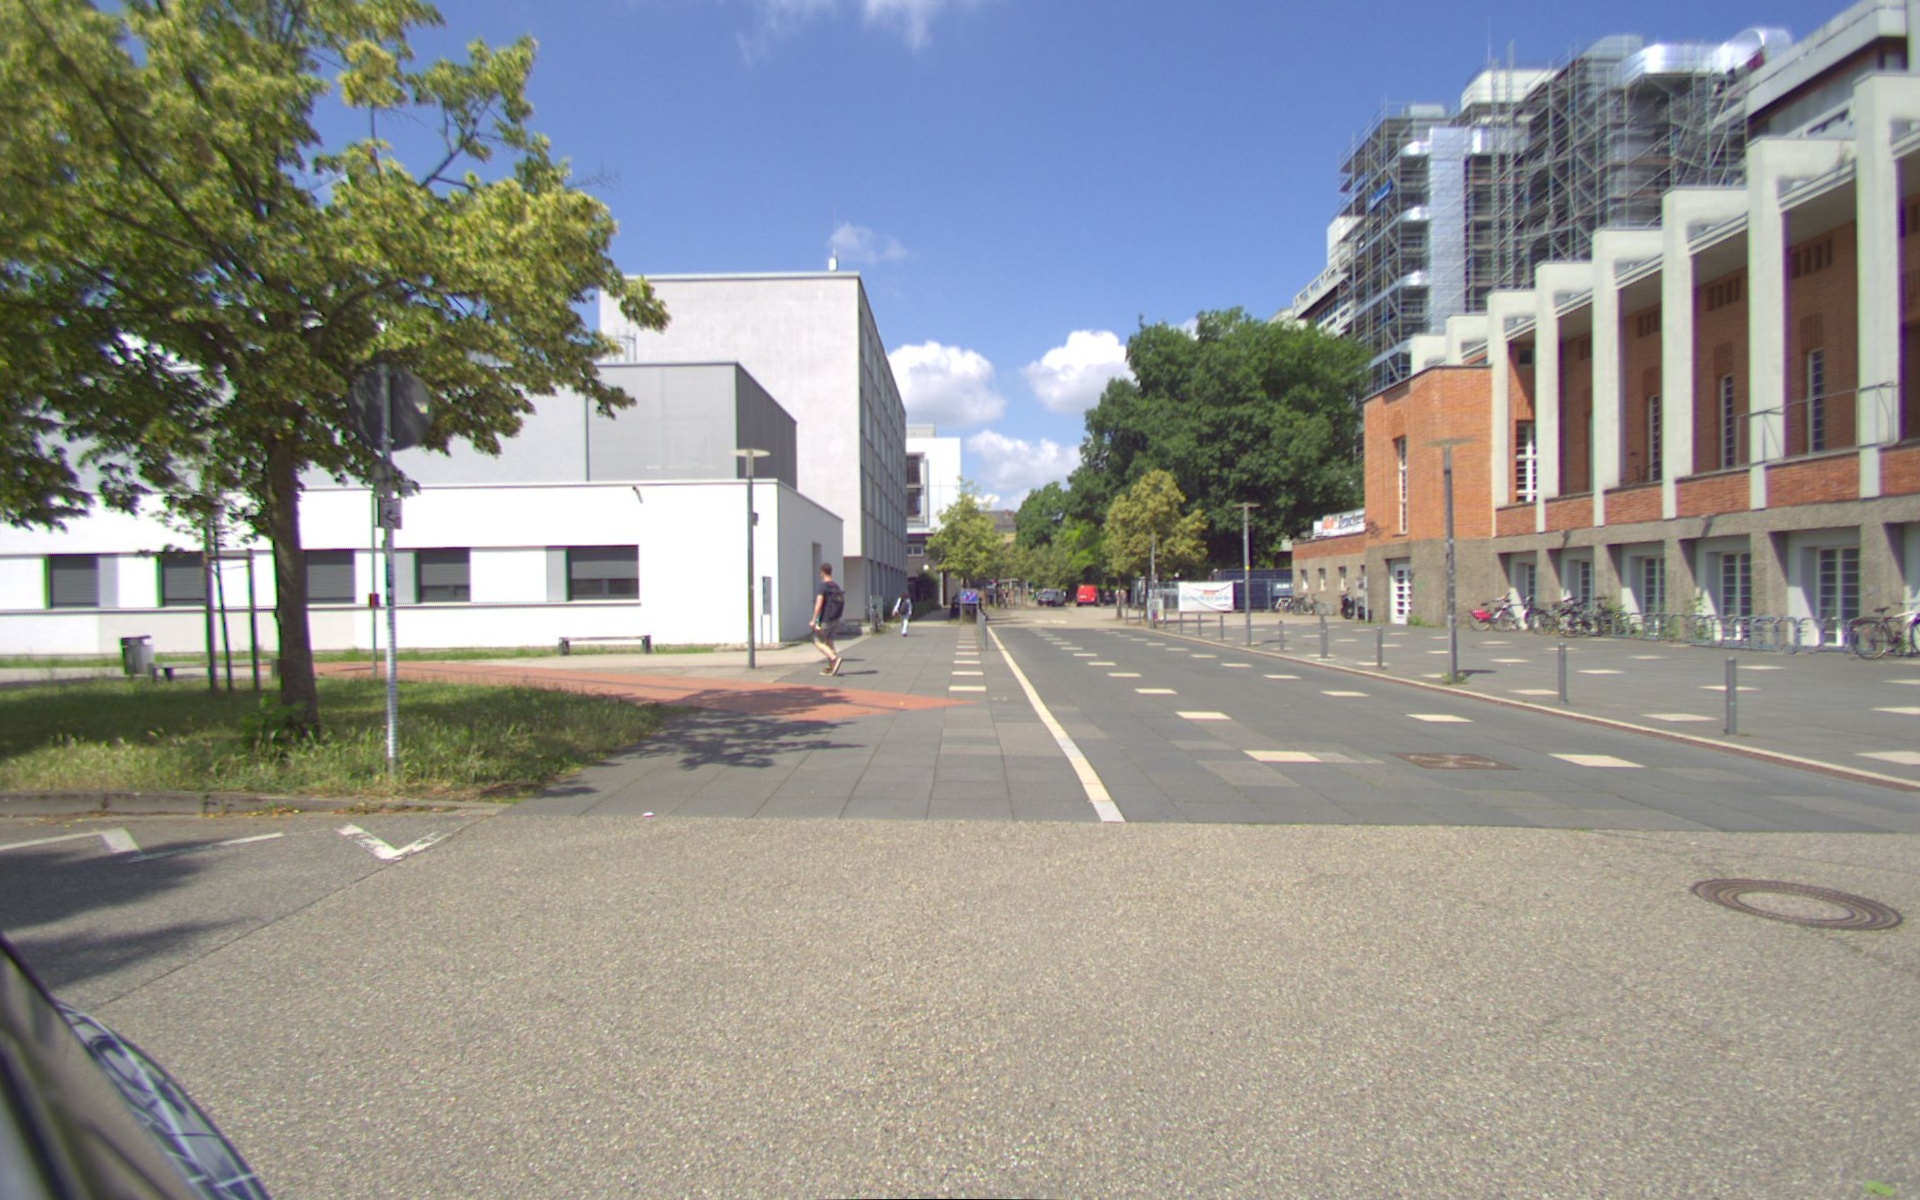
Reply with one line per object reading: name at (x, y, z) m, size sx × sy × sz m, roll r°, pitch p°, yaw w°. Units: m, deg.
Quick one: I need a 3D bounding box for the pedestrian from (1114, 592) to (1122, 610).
pedestrian at (13.392, 0.074, 85.594) m, size 0.637 × 1.550 × 0.451 m, roll -1°, pitch 0°, yaw 12°

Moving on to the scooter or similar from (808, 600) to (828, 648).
scooter or similar at (-3.745, 0.618, 26.736) m, size 0.323 × 1.245 × 1.072 m, roll -1°, pitch 0°, yaw 3°

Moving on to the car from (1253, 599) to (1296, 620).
car at (17.927, 0.547, 57.665) m, size 2.296 × 1.189 × 0.479 m, roll -1°, pitch 0°, yaw 3°

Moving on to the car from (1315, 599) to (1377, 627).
car at (17.342, 0.590, 45.517) m, size 2.496 × 1.189 × 0.632 m, roll -1°, pitch 0°, yaw 3°

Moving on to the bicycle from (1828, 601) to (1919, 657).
bicycle at (16.839, 0.508, 18.139) m, size 1.929 × 0.967 × 0.685 m, roll -1°, pitch 0°, yaw 0°

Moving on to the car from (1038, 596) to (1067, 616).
car at (10.366, 0.678, 113.327) m, size 2.013 × 2.108 × 4.401 m, roll -1°, pitch -1°, yaw 21°

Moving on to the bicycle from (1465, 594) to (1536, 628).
bicycle at (17.169, 0.358, 32.162) m, size 1.929 × 1.038 × 0.542 m, roll -1°, pitch 0°, yaw 0°

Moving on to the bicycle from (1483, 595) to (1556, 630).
bicycle at (17.241, 0.370, 31.191) m, size 1.929 × 1.038 × 0.518 m, roll -1°, pitch 0°, yaw 0°

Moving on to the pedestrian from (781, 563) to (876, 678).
pedestrian at (-2.167, 0.327, 16.785) m, size 1.167 × 1.814 × 1.011 m, roll 1°, pitch -1°, yaw 30°

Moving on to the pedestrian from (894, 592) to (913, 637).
pedestrian at (-1.810, 0.459, 32.704) m, size 0.518 × 1.449 × 0.700 m, roll -1°, pitch 0°, yaw 3°

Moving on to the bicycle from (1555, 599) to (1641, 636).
bicycle at (17.179, 0.464, 27.284) m, size 1.929 × 0.947 × 0.569 m, roll -1°, pitch 0°, yaw 0°

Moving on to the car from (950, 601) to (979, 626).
car at (0.246, 0.757, 58.113) m, size 1.531 × 1.396 × 3.455 m, roll -1°, pitch 0°, yaw -1°

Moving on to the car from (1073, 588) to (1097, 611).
car at (10.740, -0.037, 86.991) m, size 1.892 × 1.896 × 3.991 m, roll -1°, pitch -1°, yaw 7°

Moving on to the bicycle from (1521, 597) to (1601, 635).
bicycle at (17.118, 0.444, 28.836) m, size 1.929 × 1.038 × 0.530 m, roll -1°, pitch 0°, yaw 0°

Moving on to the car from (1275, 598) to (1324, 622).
car at (17.918, 0.524, 53.438) m, size 2.338 × 1.189 × 0.794 m, roll -1°, pitch 0°, yaw 3°

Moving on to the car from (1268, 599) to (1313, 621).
car at (18.027, 0.536, 55.209) m, size 2.260 × 1.189 × 0.524 m, roll -1°, pitch 0°, yaw 3°
